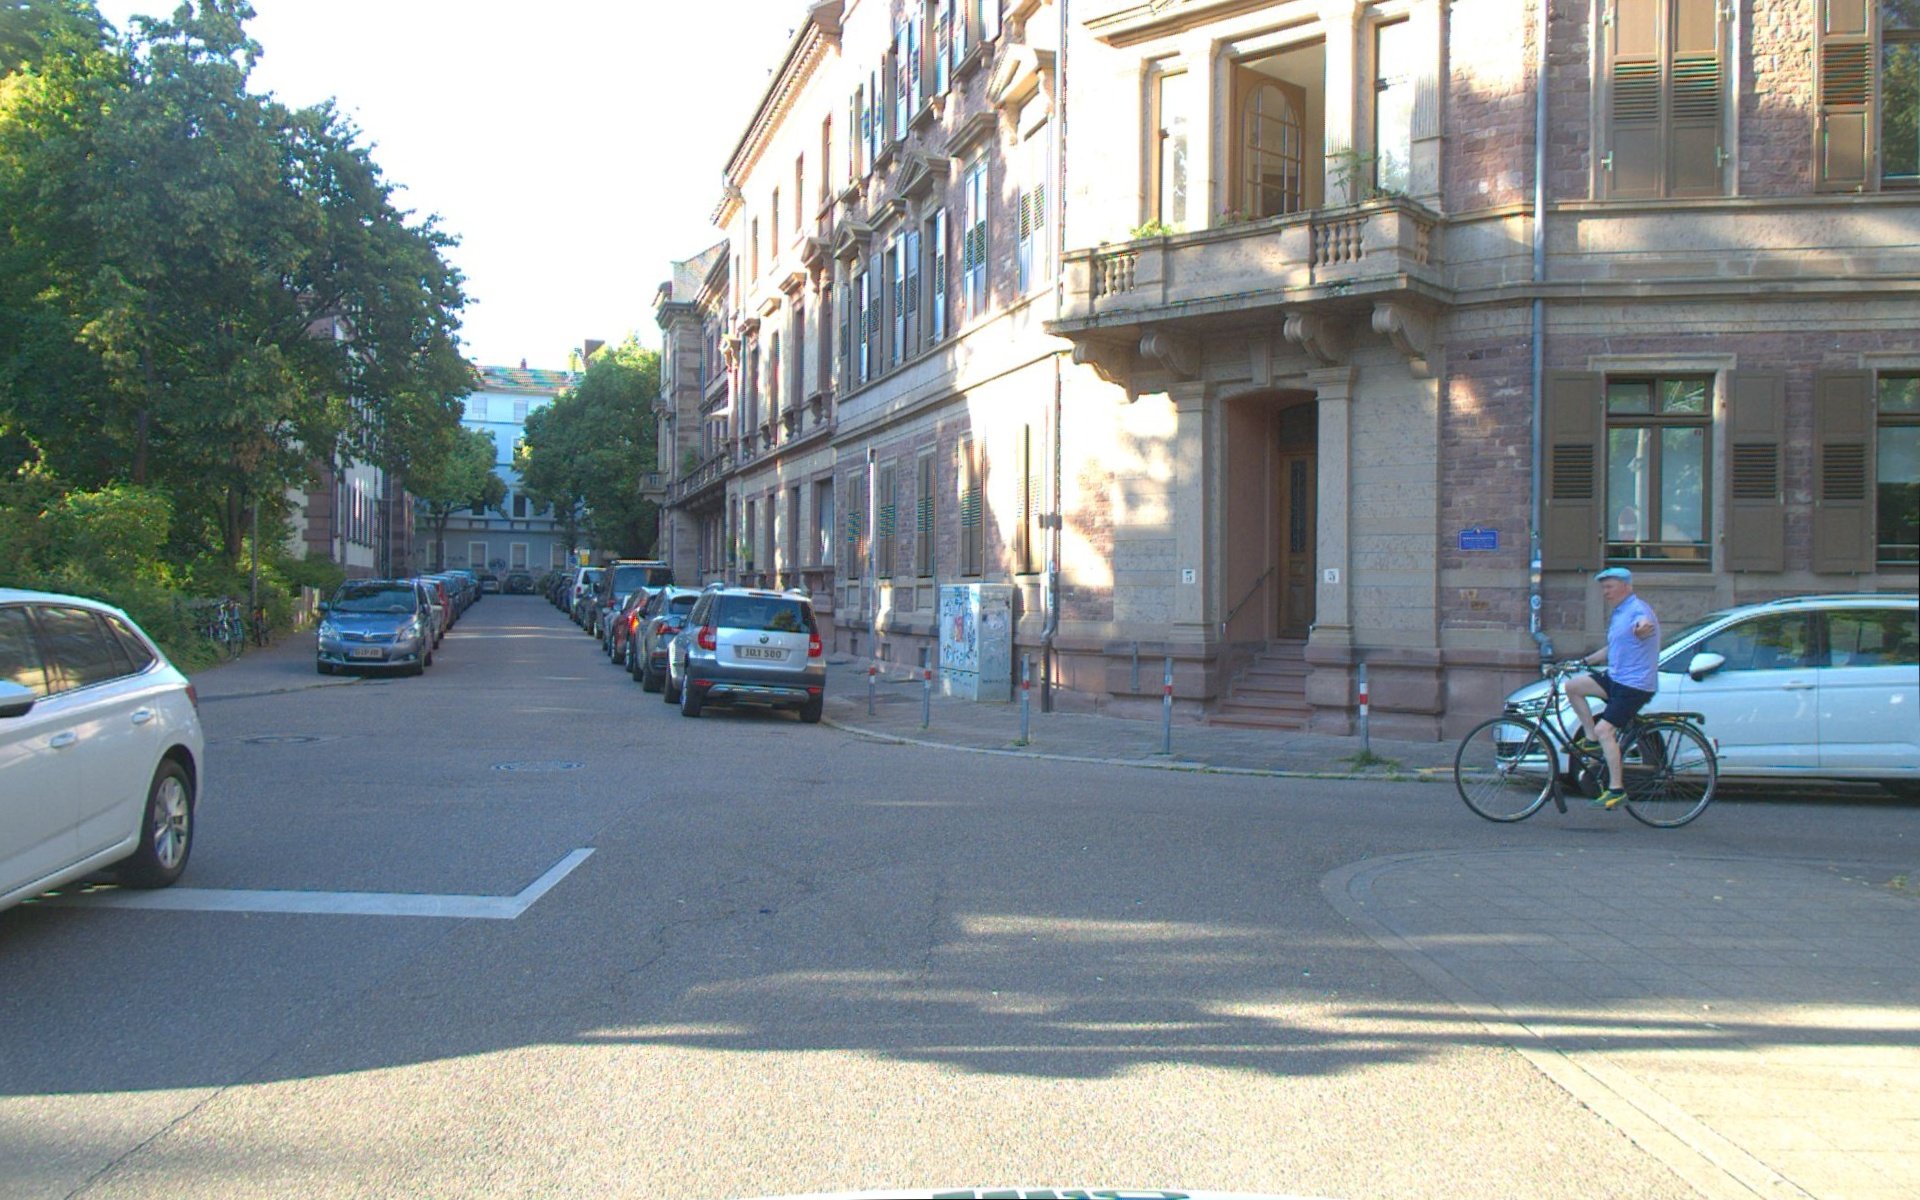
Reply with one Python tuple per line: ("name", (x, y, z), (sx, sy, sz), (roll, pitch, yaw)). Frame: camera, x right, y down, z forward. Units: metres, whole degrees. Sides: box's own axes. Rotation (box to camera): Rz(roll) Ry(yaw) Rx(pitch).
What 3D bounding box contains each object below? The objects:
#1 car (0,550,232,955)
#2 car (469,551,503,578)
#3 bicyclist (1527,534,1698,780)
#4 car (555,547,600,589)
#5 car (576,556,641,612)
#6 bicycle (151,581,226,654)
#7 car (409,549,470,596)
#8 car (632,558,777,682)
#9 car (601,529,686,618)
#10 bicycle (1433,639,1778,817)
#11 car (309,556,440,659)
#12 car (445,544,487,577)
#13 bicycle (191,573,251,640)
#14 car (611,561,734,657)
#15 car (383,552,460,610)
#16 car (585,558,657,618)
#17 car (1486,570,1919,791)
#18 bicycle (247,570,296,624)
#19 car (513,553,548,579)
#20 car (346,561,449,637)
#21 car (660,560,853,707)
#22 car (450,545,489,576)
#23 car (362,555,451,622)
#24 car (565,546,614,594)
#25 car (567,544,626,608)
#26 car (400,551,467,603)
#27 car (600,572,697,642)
("car", (-4.439, 0.544, 6.608), (1.670, 1.482, 4.057), (0, 2, -7))
("car", (-33.352, -2.472, 116.315), (1.965, 1.713, 3.975), (2, -1, -21))
("bicyclist", (4.488, 0.372, 11.420), (0.853, 1.616, 0.701), (2, 1, 2))
("car", (-17.374, -1.470, 74.968), (1.768, 1.757, 3.939), (3, 1, -15))
("car", (-11.399, -0.552, 53.502), (1.768, 1.651, 3.939), (3, 1, -15))
("bicycle", (-12.735, 0.260, 27.380), (0.586, 1.120, 2.619), (0, 1, -13))
("car", (-18.626, -0.997, 59.326), (1.796, 1.526, 3.916), (4, 1, -15))
("car", (-4.257, 0.247, 27.045), (1.796, 1.753, 4.526), (4, 1, -15))
("car", (-8.250, -0.699, 42.850), (1.768, 2.108, 3.939), (3, 1, -15))
("bicycle", (4.422, 0.866, 11.430), (2.073, 1.072, 0.701), (2, 1, 2))
("car", (-10.590, 0.082, 30.153), (1.796, 1.643, 4.275), (4, 1, -15))
("car", (-25.134, -2.014, 84.213), (1.796, 1.526, 3.916), (4, 1, -15))
("bicycle", (-13.384, 0.094, 30.007), (0.587, 1.120, 2.617), (0, 1, -15))
("car", (-5.622, 0.125, 32.002), (1.769, 1.642, 3.936), (3, 1, -17))
("car", (-15.591, -0.580, 48.051), (1.796, 1.526, 3.916), (4, 1, -15))
("car", (-9.910, -0.378, 48.177), (1.768, 1.550, 3.939), (3, 1, -15))
("car", (6.859, 0.657, 13.969), (4.387, 1.678, 1.876), (1, -1, 11))
("bicycle", (-15.083, -0.081, 36.270), (0.586, 1.120, 2.618), (0, 1, -13))
("car", (-30.526, -2.422, 117.583), (1.965, 1.713, 3.975), (2, -1, -21))
("car", (-12.348, -0.063, 36.517), (1.796, 1.472, 3.916), (4, 1, -15))
("car", (-2.835, 0.382, 22.222), (1.885, 1.685, 4.169), (4, 0, -16))
("car", (-26.431, -2.122, 89.126), (1.796, 1.526, 3.916), (4, 1, -15))
("car", (-13.939, -0.314, 41.828), (1.796, 1.503, 3.916), (4, 1, -15))
("car", (-15.696, -1.269, 69.904), (1.768, 1.870, 3.939), (3, 1, -15))
("car", (-12.986, -0.893, 58.961), (1.768, 2.108, 3.939), (3, 1, -15))
("car", (-17.283, -0.768, 54.439), (1.796, 1.526, 3.916), (4, 1, -15))
("car", (-7.026, 0.121, 37.076), (1.768, 1.368, 3.939), (3, 1, -15))
